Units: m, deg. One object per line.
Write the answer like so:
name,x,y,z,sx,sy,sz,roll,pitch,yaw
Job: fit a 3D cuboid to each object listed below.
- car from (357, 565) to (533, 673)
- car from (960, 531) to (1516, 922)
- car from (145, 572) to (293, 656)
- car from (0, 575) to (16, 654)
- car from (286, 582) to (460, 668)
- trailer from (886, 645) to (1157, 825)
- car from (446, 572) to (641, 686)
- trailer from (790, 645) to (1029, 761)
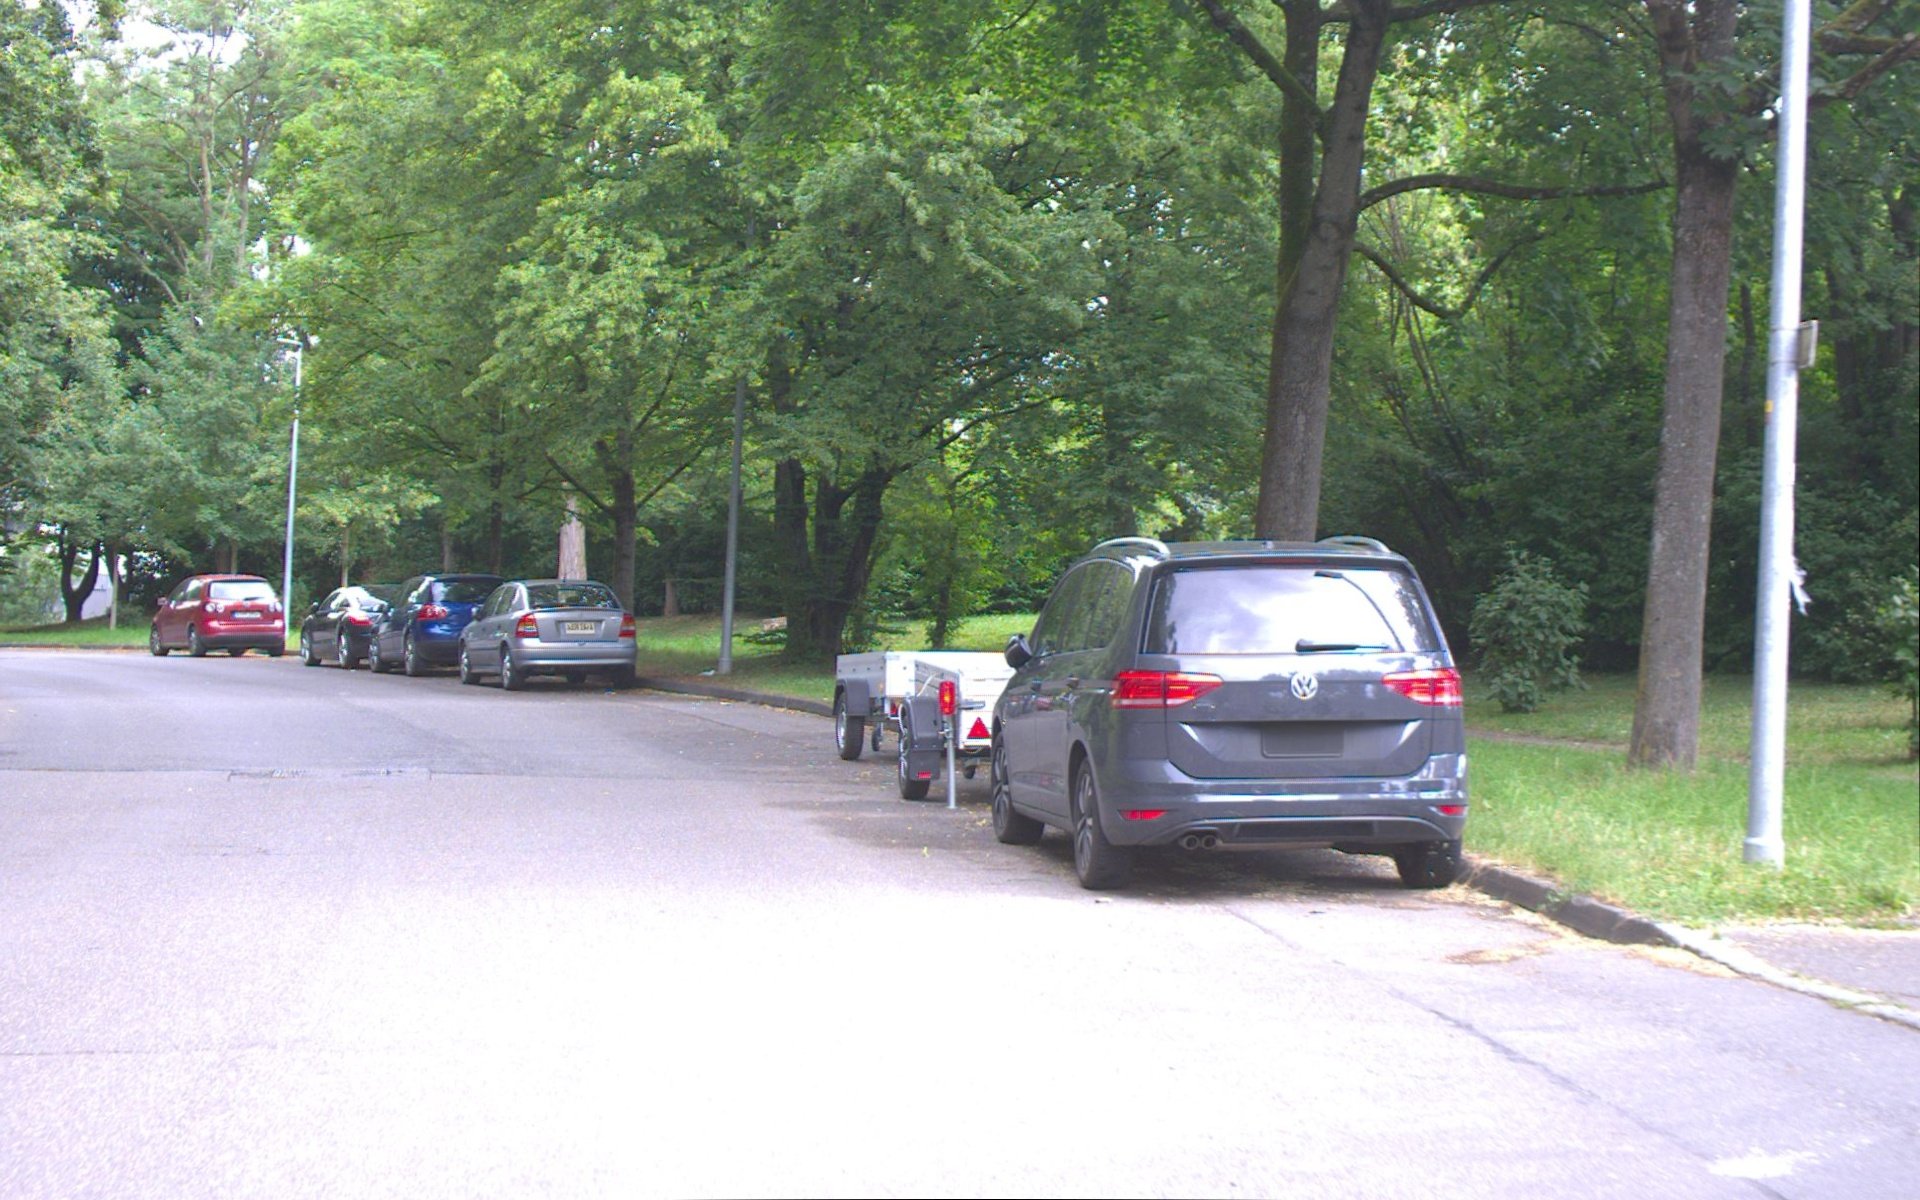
car,-7.799,0.293,51.777,1.713,1.504,4.182,3,-1,-21
car,1.223,0.551,17.428,1.775,1.657,4.841,2,0,-8
car,-14.254,0.277,65.995,1.738,1.557,4.000,0,-1,-28
car,-18.350,0.234,62.304,1.790,1.384,4.492,3,-1,-22
car,-9.631,0.393,56.186,1.750,1.332,4.416,1,0,-24
trailer,0.345,0.871,23.473,1.357,0.965,3.893,2,1,-6
car,-5.553,0.377,45.475,1.717,1.427,3.949,0,0,-20
trailer,-0.466,0.822,28.205,1.363,0.845,3.279,2,-1,-11
